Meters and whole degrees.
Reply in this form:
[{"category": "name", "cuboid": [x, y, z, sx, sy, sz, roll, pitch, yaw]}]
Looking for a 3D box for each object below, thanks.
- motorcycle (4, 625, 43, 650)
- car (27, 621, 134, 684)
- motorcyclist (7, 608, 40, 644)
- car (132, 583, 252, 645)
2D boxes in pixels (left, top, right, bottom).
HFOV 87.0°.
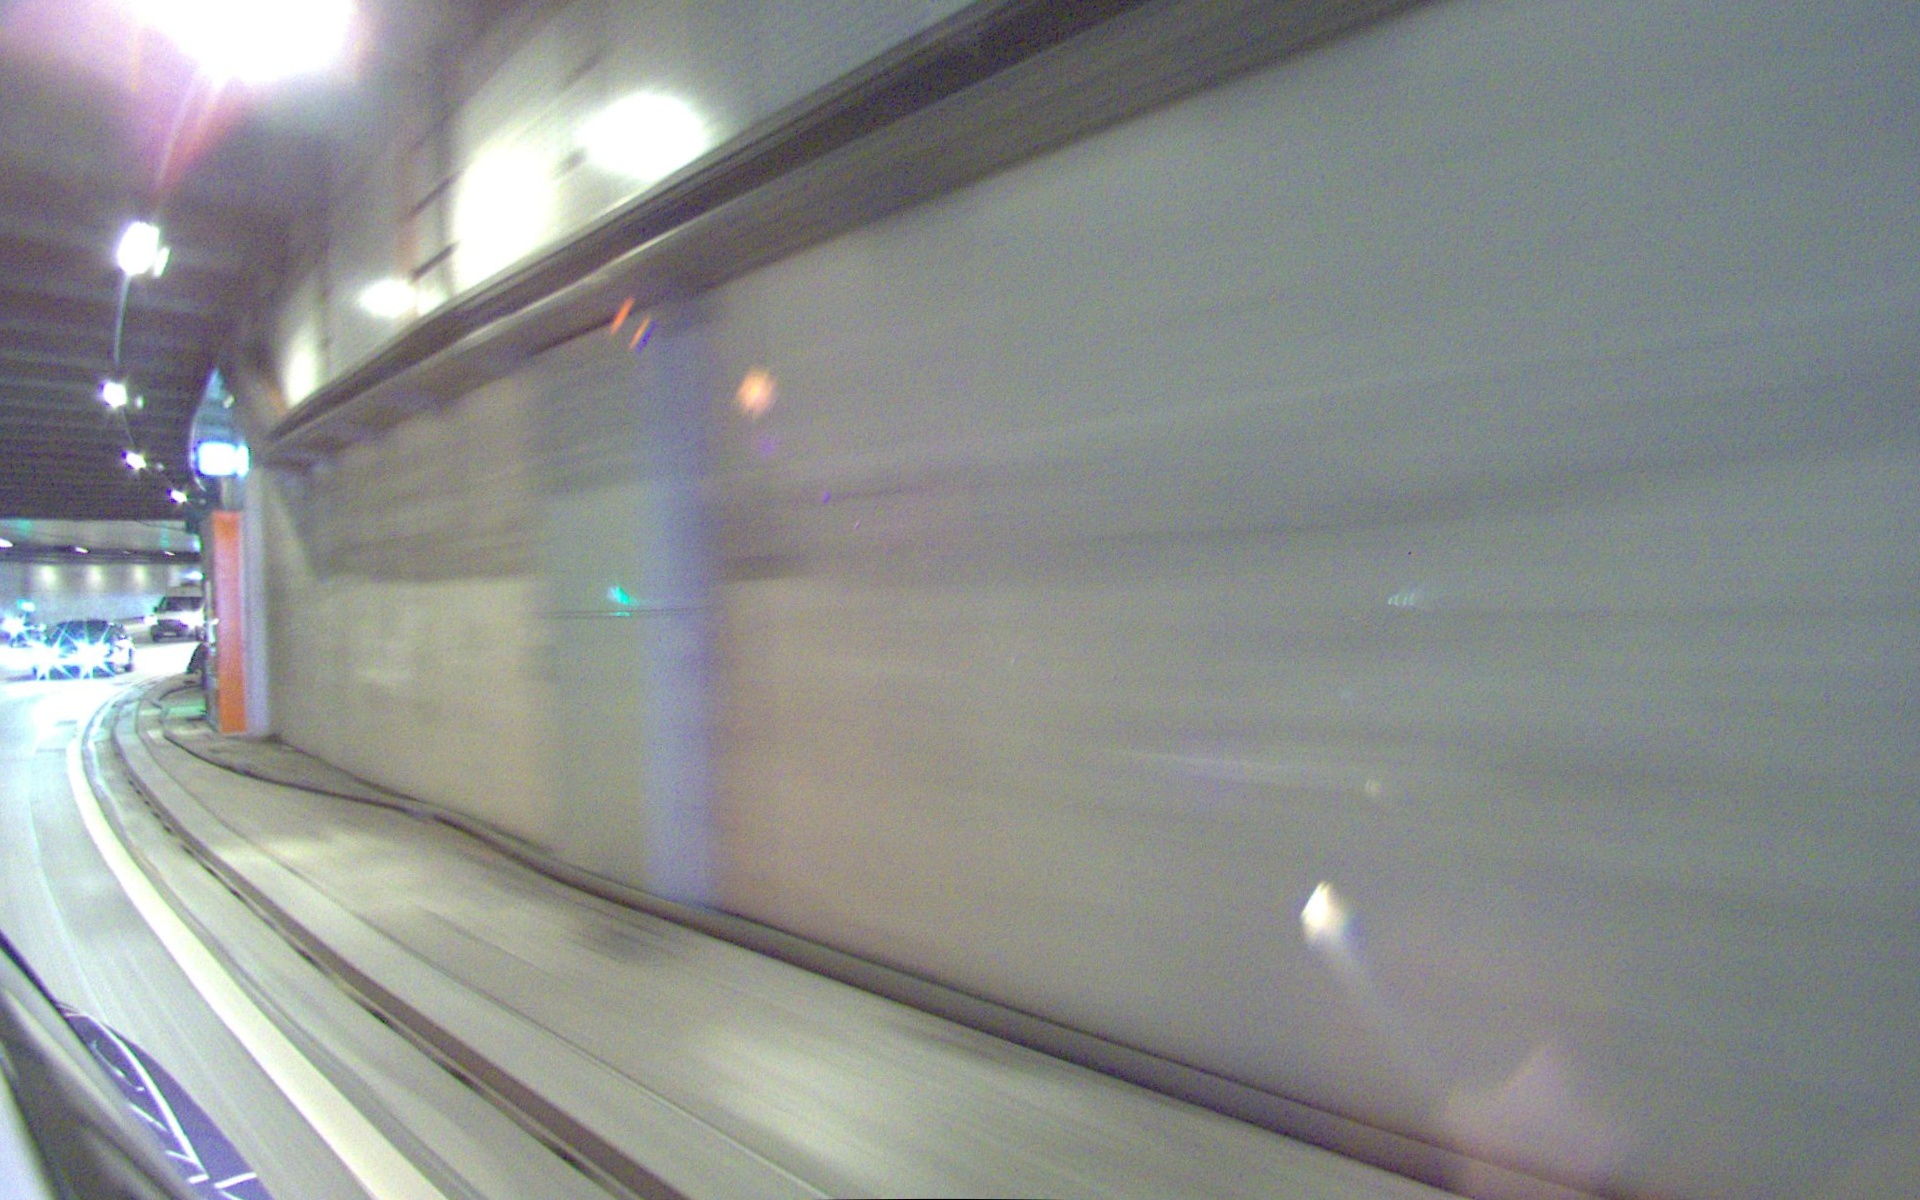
[{"category": "motorcycle", "cuboid": [-40.332, 1.607, 43.603, 0.541, 0.983, 1.841, -3, 2, -22]}, {"category": "car", "cuboid": [-23.645, 1.348, 27.327, 1.694, 1.475, 4.010, -1, 0, -34]}, {"category": "motorcyclist", "cuboid": [-40.397, 1.114, 43.668, 0.734, 1.502, 0.790, -3, 2, -22]}, {"category": "car", "cuboid": [-37.548, 0.631, 49.771, 2.518, 2.789, 7.374, -1, 0, -19]}]
